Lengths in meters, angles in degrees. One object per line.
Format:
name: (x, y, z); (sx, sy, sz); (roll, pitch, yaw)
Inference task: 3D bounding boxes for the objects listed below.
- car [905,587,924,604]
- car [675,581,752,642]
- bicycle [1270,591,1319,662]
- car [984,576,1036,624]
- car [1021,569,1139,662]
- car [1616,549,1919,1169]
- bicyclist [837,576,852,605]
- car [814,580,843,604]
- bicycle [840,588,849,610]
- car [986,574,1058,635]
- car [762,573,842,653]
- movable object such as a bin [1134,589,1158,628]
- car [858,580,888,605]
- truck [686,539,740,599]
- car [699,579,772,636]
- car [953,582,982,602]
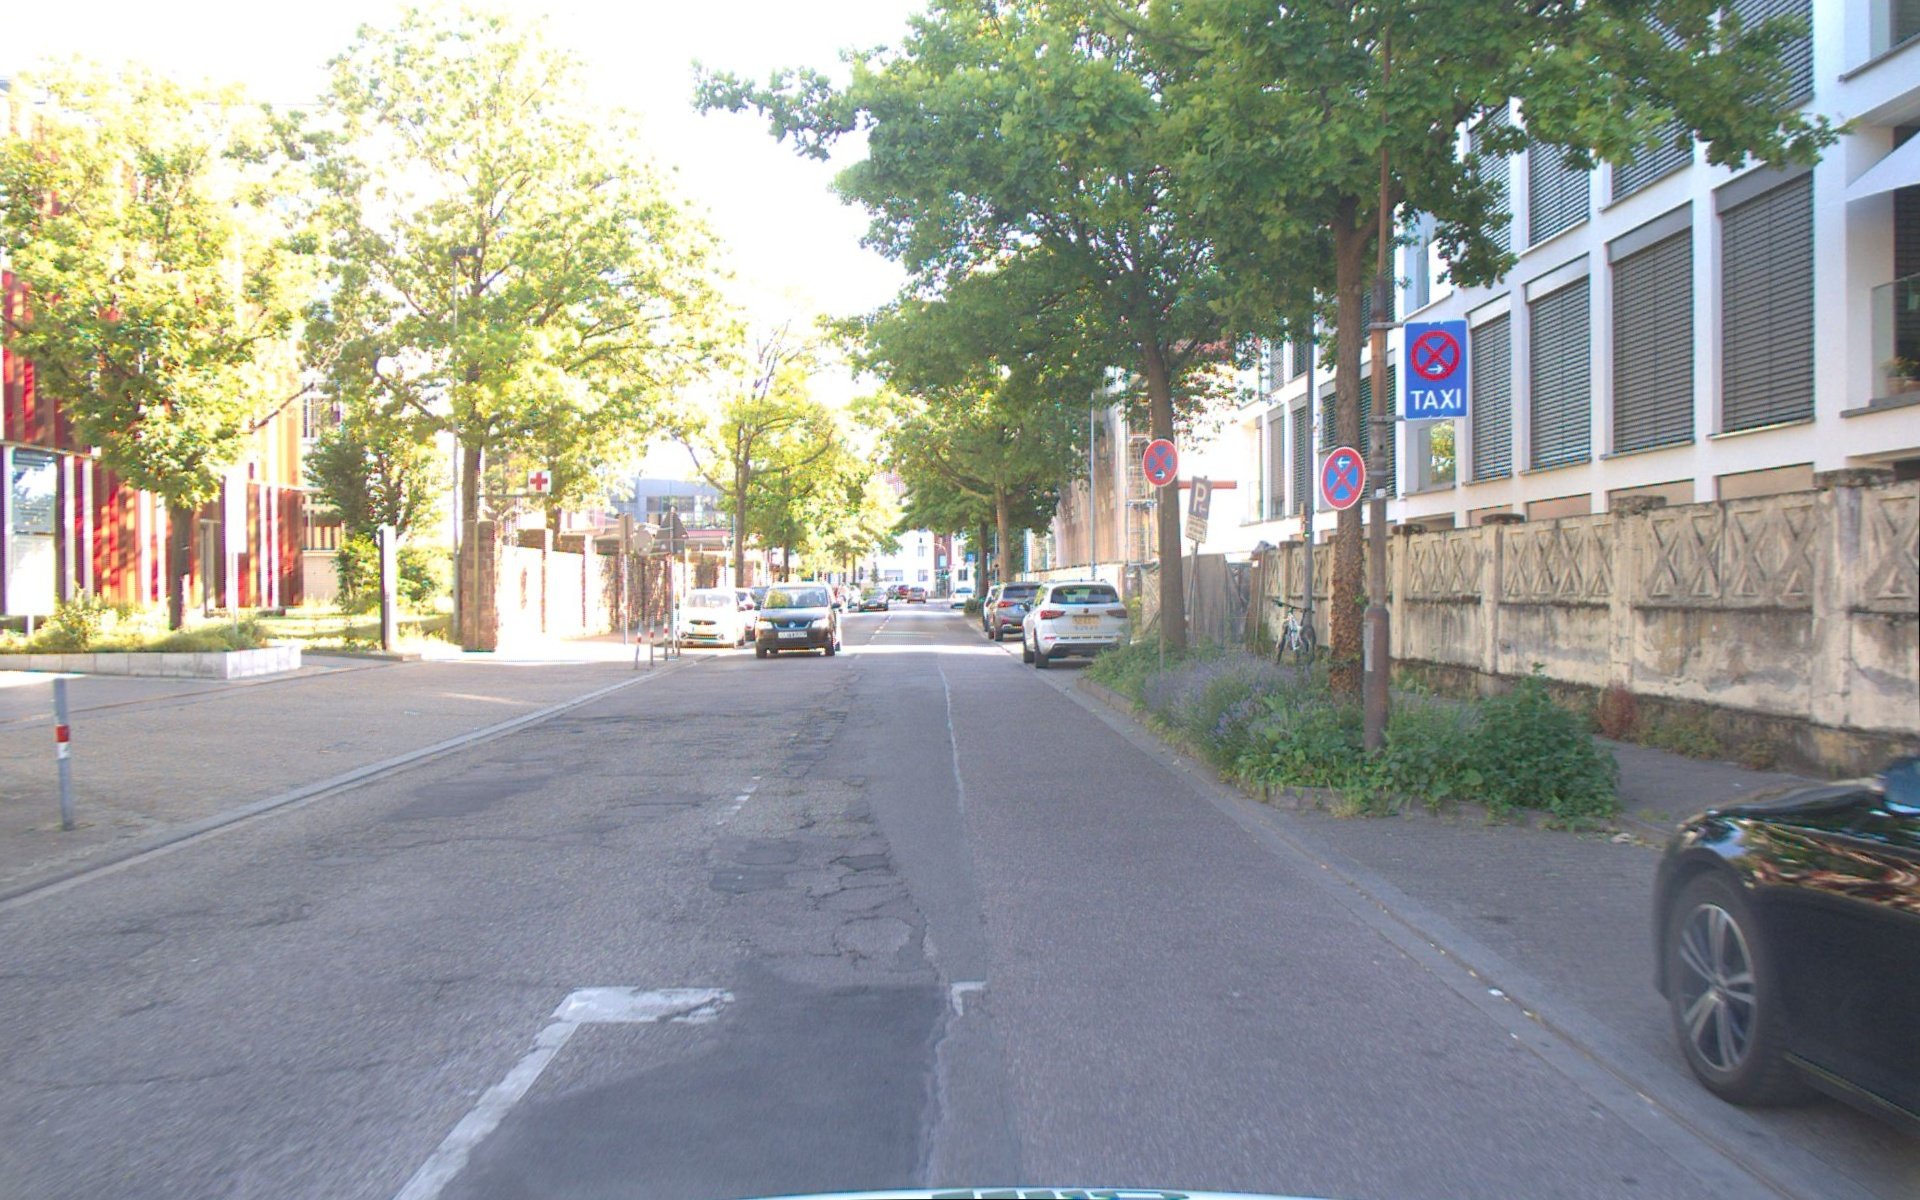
car: (-4.117, -0.435, 149.339); (1.606, 1.468, 3.421); (1, 0, -1)
car: (-6.411, 0.266, 43.299); (1.542, 1.426, 3.749); (3, 1, -2)
bicycle: (5.231, 0.401, 25.929); (0.330, 1.059, 1.830); (0, 0, -2)
car: (1.701, -0.030, 56.605); (1.688, 1.536, 3.993); (-2, 1, 1)
car: (2.235, 0.248, 31.762); (1.757, 1.644, 4.124); (1, 1, -3)
car: (3.075, 0.610, 3.164); (1.685, 1.435, 4.762); (0, 1, -1)
bicyclist: (-6.299, -0.509, 90.153); (0.706, 1.549, 1.005); (1, 0, 1)
car: (-8.354, -0.530, 105.150); (1.576, 1.484, 3.707); (1, 0, -1)
bicycle: (-6.303, -0.061, 90.169); (0.350, 1.140, 1.866); (1, 0, 0)
car: (1.737, 0.094, 47.680); (1.678, 1.667, 4.300); (0, 1, -3)
car: (-3.520, 0.253, 37.412); (1.611, 1.639, 4.018); (-2, 1, -3)
movable object such as a bin: (5.070, 0.228, 44.997); (0.585, 1.045, 0.564); (1, 0, 2)
car: (-5.436, -0.472, 103.255); (1.785, 1.461, 3.967); (2, 1, -3)
truck: (-16.534, -2.050, 111.075); (2.677, 3.776, 7.426); (1, 0, -2)
car: (-6.650, 0.192, 49.265); (1.643, 1.537, 3.849); (3, 1, -1)
car: (0.507, -0.560, 112.918); (1.796, 1.346, 4.494); (-1, 1, -2)
